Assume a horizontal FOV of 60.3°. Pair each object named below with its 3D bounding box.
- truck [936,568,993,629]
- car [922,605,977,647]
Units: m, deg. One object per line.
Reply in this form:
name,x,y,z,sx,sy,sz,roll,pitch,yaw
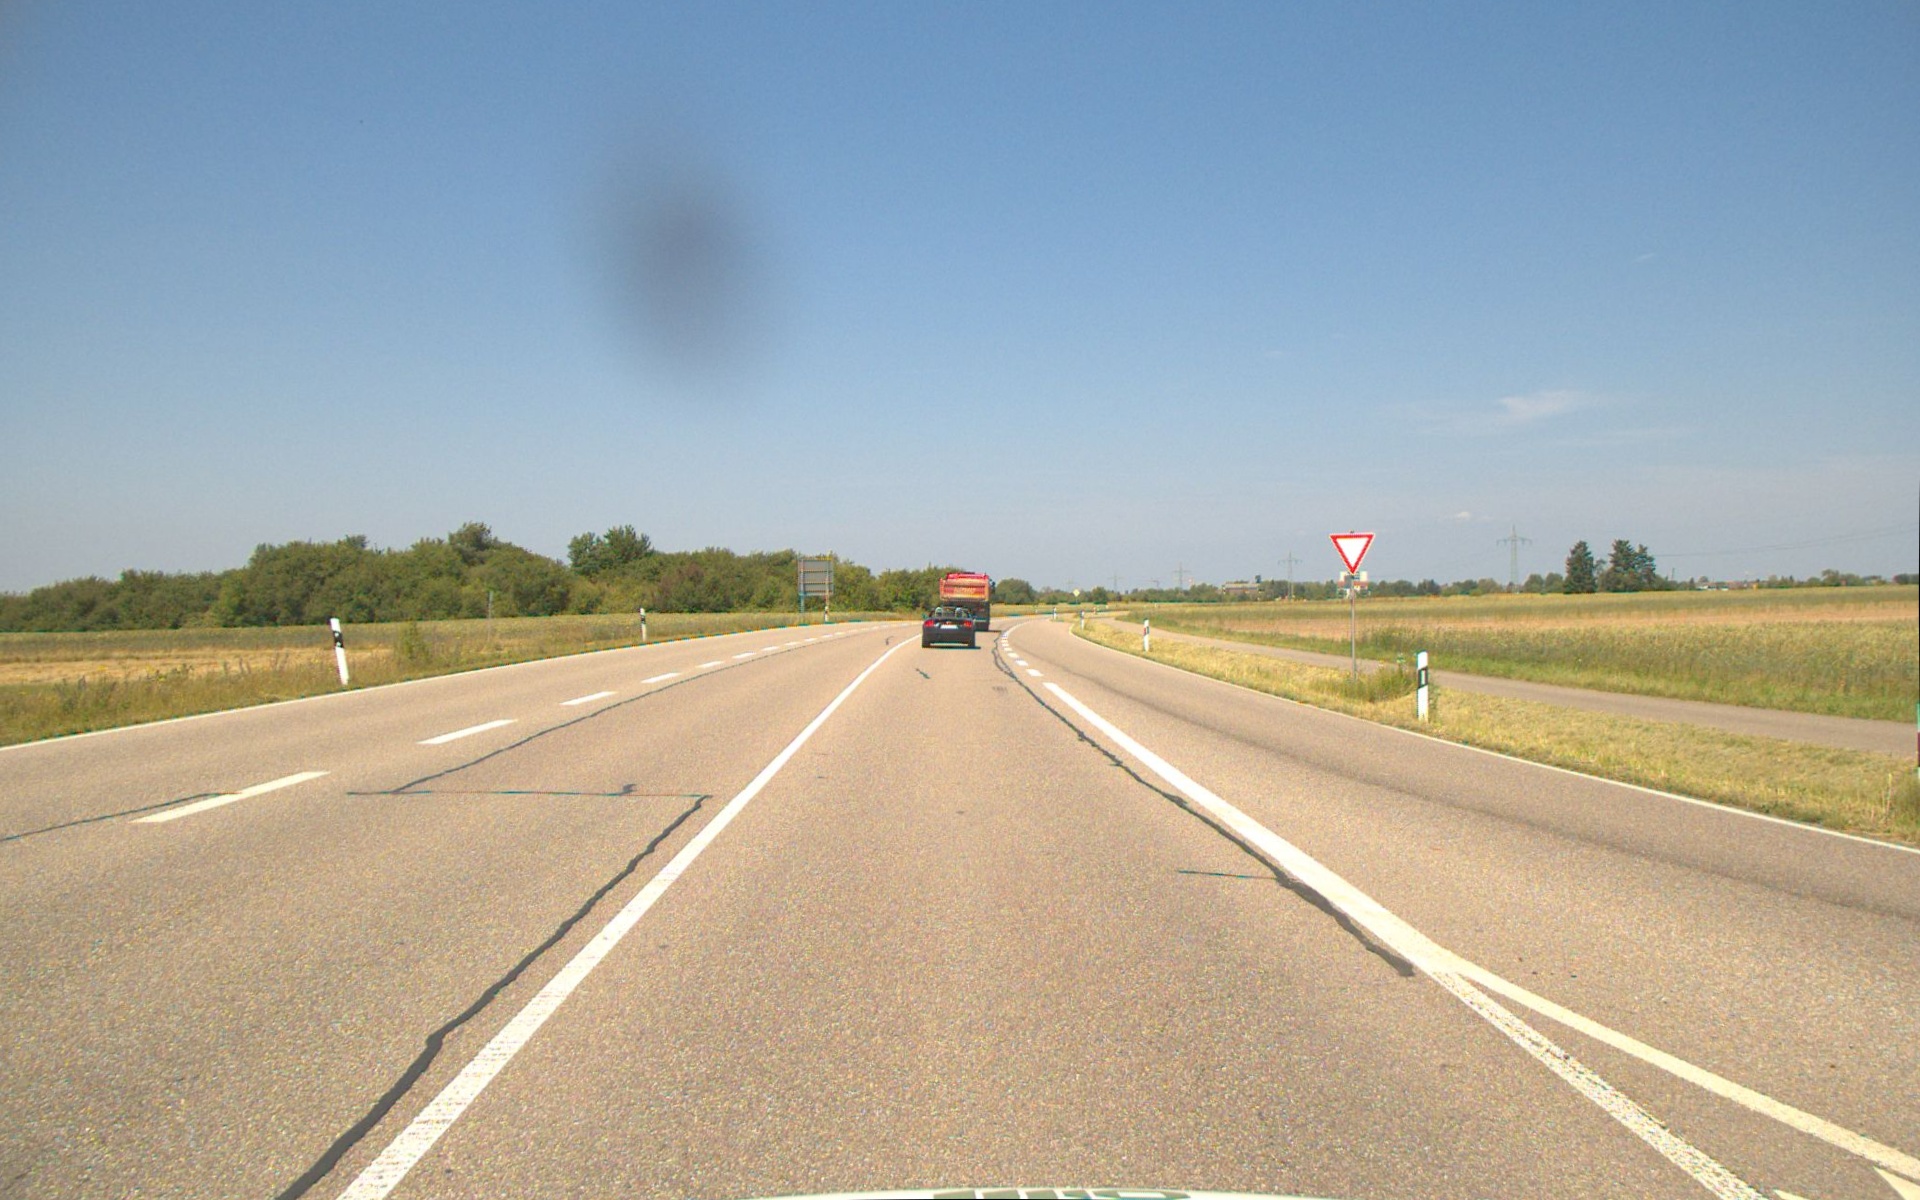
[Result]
truck,0.306,-0.050,88.230,2.877,3.143,7.197,0,0,1
car,-0.335,0.828,53.791,1.708,1.302,4.000,1,0,0
